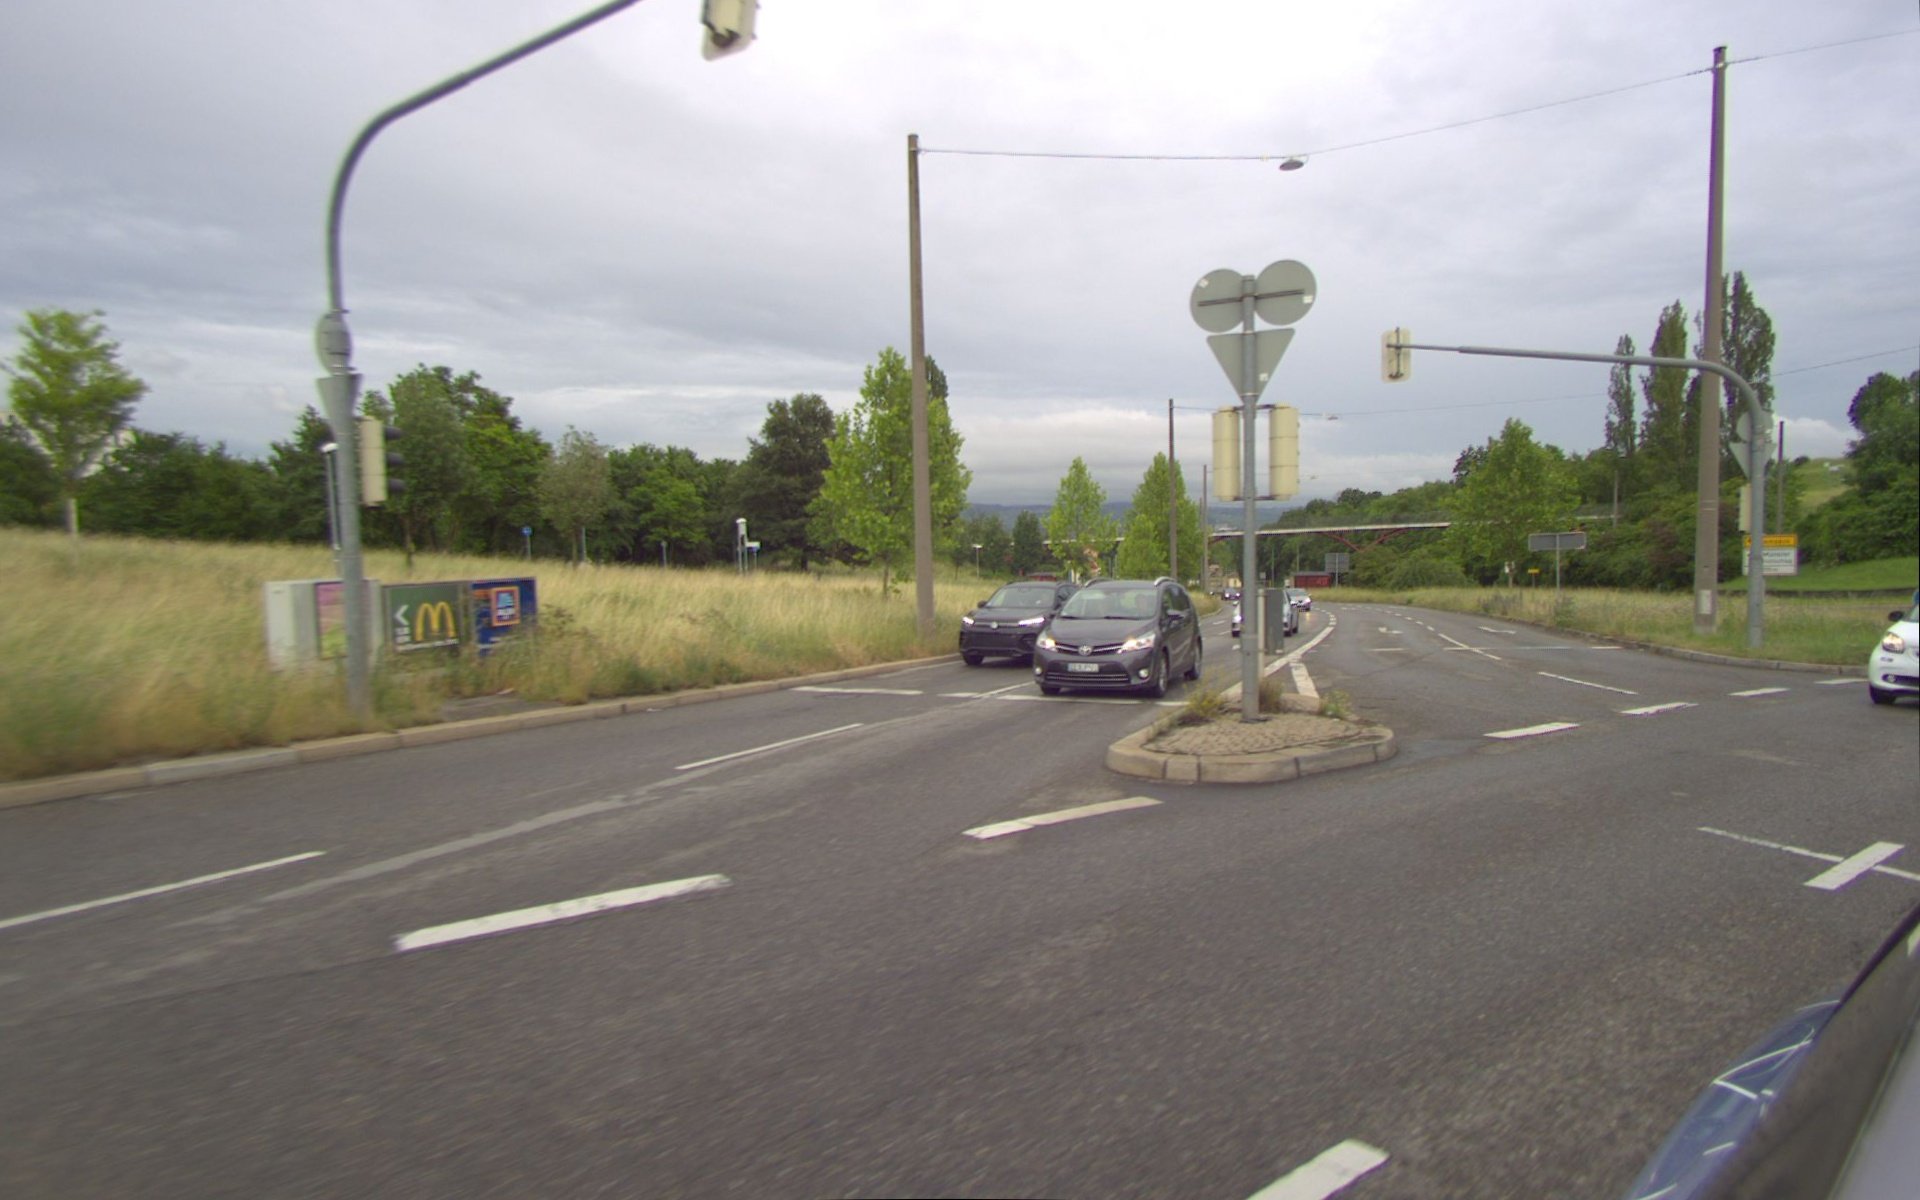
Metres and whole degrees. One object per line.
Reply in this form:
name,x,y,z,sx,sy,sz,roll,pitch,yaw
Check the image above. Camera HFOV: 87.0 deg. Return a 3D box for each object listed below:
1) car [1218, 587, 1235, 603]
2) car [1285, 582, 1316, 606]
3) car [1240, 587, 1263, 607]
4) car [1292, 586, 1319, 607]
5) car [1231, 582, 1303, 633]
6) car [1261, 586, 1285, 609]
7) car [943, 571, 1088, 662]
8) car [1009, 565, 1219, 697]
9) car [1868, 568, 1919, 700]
car,34.129,-0.657,129.483,1.973,2.039,3.979,0,1,17
car,21.907,-0.410,65.231,1.847,1.504,3.978,0,1,18
car,31.325,-0.350,108.872,1.969,2.039,3.987,0,1,12
car,26.171,-0.287,76.704,1.846,1.515,3.738,0,1,18
car,9.624,0.172,31.508,1.729,1.445,3.969,0,1,23
car,28.528,-0.222,92.409,1.811,1.972,3.984,-1,1,14
car,1.232,0.272,20.633,1.702,1.663,3.857,-1,1,24
car,2.494,0.338,15.233,1.978,1.663,4.591,-1,1,24
car,13.238,0.384,12.550,4.143,1.541,1.729,-1,2,-30
